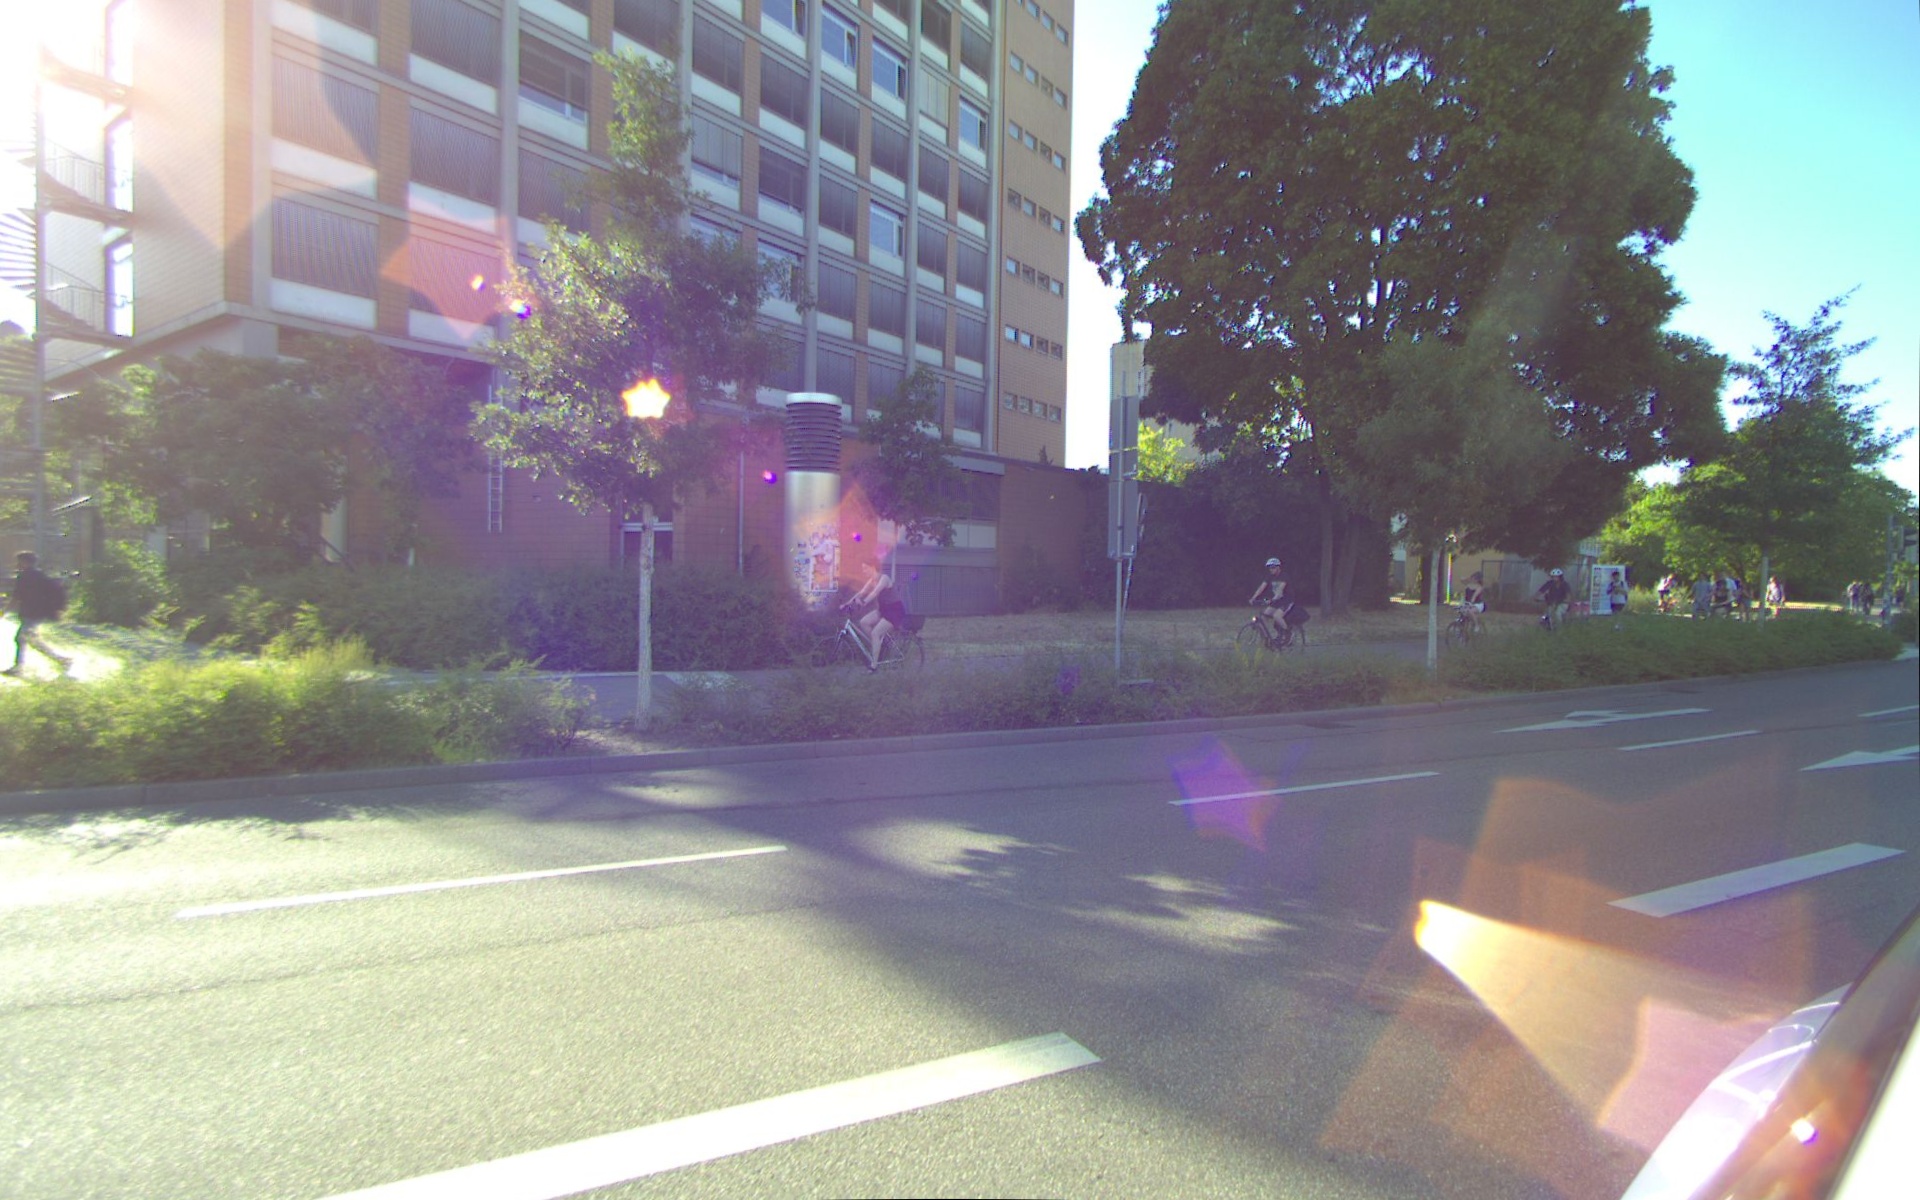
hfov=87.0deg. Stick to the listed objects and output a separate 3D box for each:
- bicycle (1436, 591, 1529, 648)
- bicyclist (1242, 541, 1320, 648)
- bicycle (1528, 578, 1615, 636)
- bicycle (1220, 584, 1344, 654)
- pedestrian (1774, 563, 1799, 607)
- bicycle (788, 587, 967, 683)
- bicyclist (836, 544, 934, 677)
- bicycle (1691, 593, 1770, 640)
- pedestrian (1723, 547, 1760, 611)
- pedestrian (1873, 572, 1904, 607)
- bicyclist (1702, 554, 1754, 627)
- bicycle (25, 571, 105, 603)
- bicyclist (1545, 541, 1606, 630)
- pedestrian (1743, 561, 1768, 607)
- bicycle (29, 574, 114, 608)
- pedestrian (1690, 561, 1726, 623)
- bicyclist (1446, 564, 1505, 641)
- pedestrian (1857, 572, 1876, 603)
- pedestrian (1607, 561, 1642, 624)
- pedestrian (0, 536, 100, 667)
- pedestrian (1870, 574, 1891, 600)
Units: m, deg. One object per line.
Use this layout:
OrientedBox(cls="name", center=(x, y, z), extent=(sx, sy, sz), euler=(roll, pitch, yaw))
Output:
OrientedBox(cls="bicycle", center=(11.024, 0.409, 21.358), extent=(1.829, 1.135, 0.721), euler=(2, 0, -23))
OrientedBox(cls="bicyclist", center=(5.754, -0.109, 18.124), extent=(1.071, 1.853, 0.781), euler=(0, 2, -29))
OrientedBox(cls="bicycle", center=(13.120, 0.117, 21.682), extent=(2.535, 1.170, 0.780), euler=(-1, 2, -40))
OrientedBox(cls="bicycle", center=(5.785, 0.313, 18.161), extent=(2.245, 1.170, 0.781), euler=(0, 2, -29))
OrientedBox(cls="pedestrian", center=(33.059, -0.601, 40.472), extent=(0.672, 1.725, 0.866), euler=(2, 2, 36))
OrientedBox(cls="bicycle", center=(-1.108, 0.442, 13.664), extent=(2.244, 1.169, 0.782), euler=(0, 4, -25))
OrientedBox(cls="bicyclist", center=(-1.024, 0.116, 13.680), extent=(1.070, 1.697, 0.782), euler=(0, 4, -25))
OrientedBox(cls="bicycle", center=(19.357, 0.394, 25.429), extent=(2.024, 1.135, 0.720), euler=(-1, 0, -25))
OrientedBox(cls="pedestrian", center=(23.555, -0.633, 30.508), extent=(0.611, 1.892, 0.576), euler=(1, 1, 2))
OrientedBox(cls="pedestrian", center=(47.928, -0.559, 52.251), extent=(1.012, 1.771, 0.839), euler=(2, 2, 35))
OrientedBox(cls="bicyclist", center=(19.276, -0.241, 25.395), extent=(0.832, 1.810, 0.718), euler=(0, 0, -25))
OrientedBox(cls="bicycle", center=(-25.286, -0.377, 28.625), extent=(0.526, 0.868, 1.633), euler=(2, 2, 36))
OrientedBox(cls="bicyclist", center=(13.238, -0.327, 21.773), extent=(1.074, 1.856, 0.780), euler=(-1, 2, -40))
OrientedBox(cls="pedestrian", center=(27.875, -0.572, 35.467), extent=(0.620, 1.594, 0.630), euler=(2, 2, 41))
OrientedBox(cls="bicycle", center=(-23.610, -0.261, 26.915), extent=(0.526, 0.868, 1.633), euler=(2, 2, 36))
OrientedBox(cls="pedestrian", center=(23.085, -0.259, 31.249), extent=(0.611, 1.892, 0.576), euler=(1, 1, 2))
OrientedBox(cls="bicyclist", center=(10.832, 0.048, 21.273), extent=(0.832, 1.568, 0.719), euler=(2, 0, -23))
OrientedBox(cls="pedestrian", center=(50.820, -0.724, 56.742), extent=(0.710, 1.734, 0.723), euler=(2, 2, 41))
OrientedBox(cls="pedestrian", center=(18.490, -0.217, 28.158), extent=(0.619, 1.720, 0.622), euler=(-1, 2, -40))
OrientedBox(cls="pedestrian", center=(-12.053, 0.022, 13.325), extent=(0.774, 1.680, 0.809), euler=(0, -1, -7))
OrientedBox(cls="pedestrian", center=(55.853, -0.799, 61.415), extent=(0.758, 1.562, 0.837), euler=(2, 2, 35))
